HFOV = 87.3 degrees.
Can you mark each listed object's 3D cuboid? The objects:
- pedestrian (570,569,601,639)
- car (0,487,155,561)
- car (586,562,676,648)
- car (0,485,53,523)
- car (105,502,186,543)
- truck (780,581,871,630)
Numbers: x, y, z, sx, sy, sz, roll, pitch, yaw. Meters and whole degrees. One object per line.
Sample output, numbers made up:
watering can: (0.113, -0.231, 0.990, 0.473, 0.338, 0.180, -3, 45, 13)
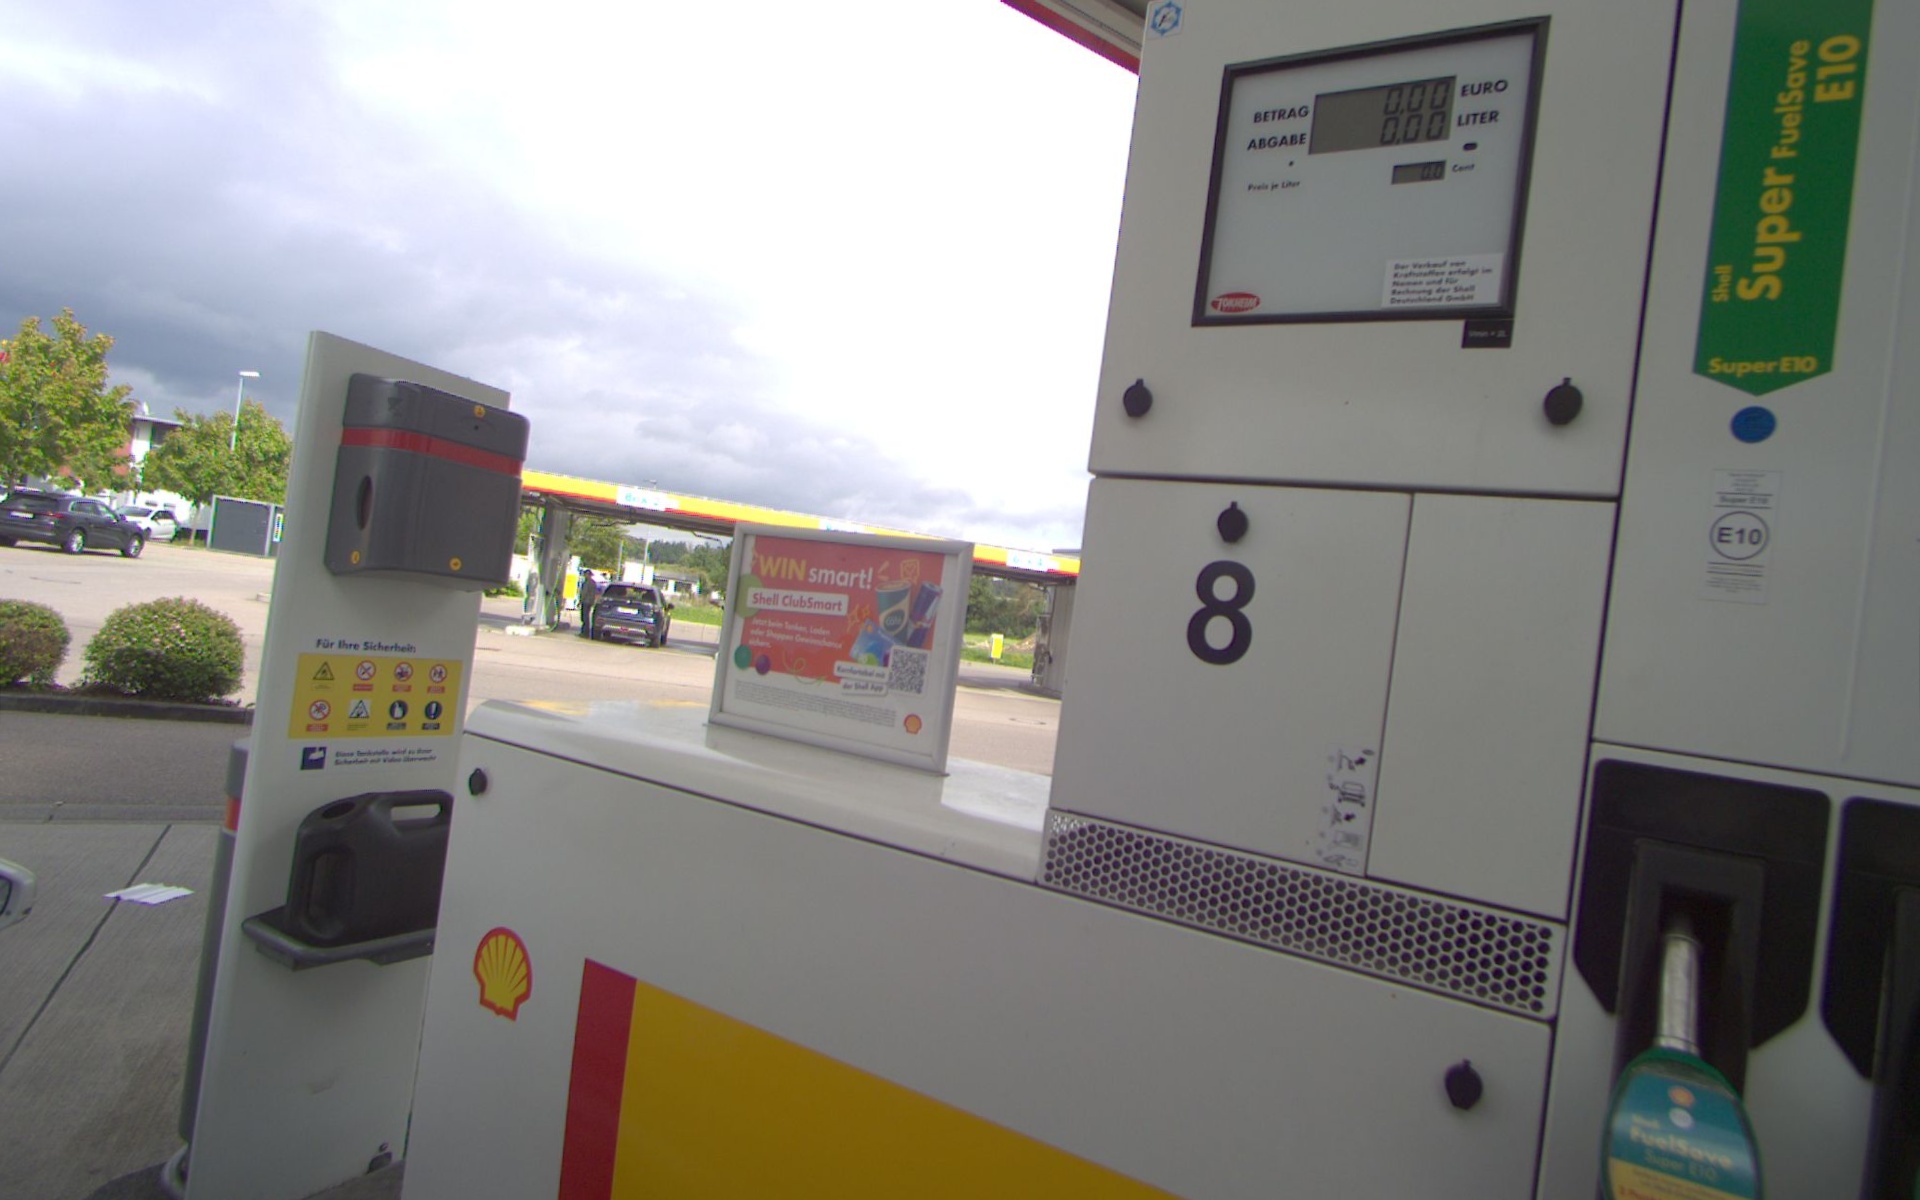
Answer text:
pedestrian: (-9.718, 0.100, 26.082, 0.550, 1.742, 0.526, 7, -1, -21)
car: (-25.925, -2.163, 29.253, 1.855, 1.566, 4.498, 8, -2, -10)
car: (-8.692, 0.154, 26.859, 1.696, 1.919, 3.800, 8, -2, -12)
car: (-57.365, -5.895, 60.225, 2.149, 1.854, 4.870, 8, -2, -11)
car: (-35.259, -3.334, 43.635, 1.346, 1.322, 3.098, 8, -2, -12)
truck: (-13.030, 0.561, 97.502, 7.978, 3.575, 2.687, 8, -2, -19)
